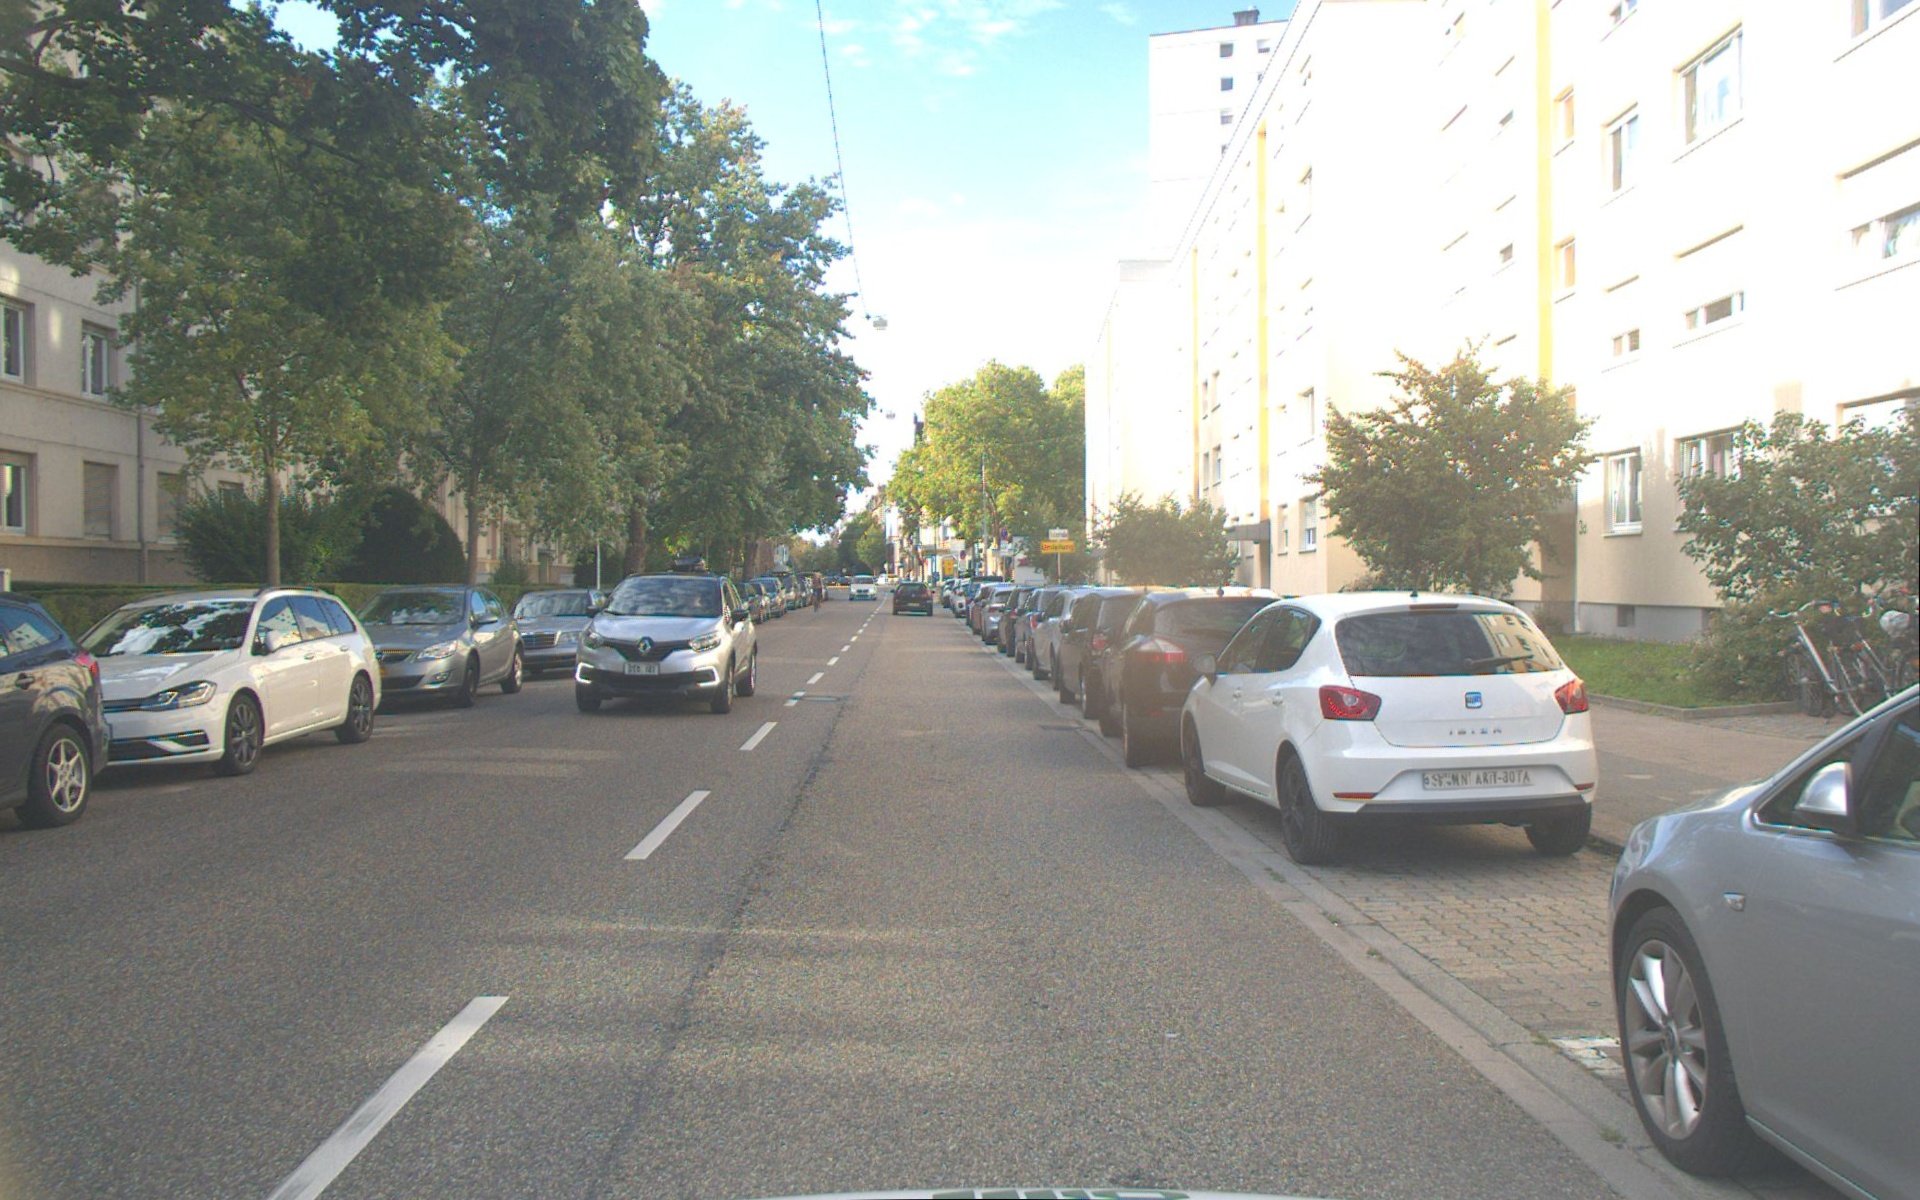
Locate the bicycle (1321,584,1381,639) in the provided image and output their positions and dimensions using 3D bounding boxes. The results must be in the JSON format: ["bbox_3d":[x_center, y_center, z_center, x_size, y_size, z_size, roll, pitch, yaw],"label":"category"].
[{"bbox_3d":[7.894,0.210,33.461,0.581,1.048,2.118,-3,1,-2],"label":"bicycle"}]

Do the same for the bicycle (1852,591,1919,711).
[{"bbox_3d":[9.004,0.461,15.353,0.511,1.093,1.590,-2,-1,-2],"label":"bicycle"}]

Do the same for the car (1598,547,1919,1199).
[{"bbox_3d":[2.726,0.661,2.640,1.727,1.550,4.330,-1,1,0],"label":"car"}]

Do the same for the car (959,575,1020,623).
[{"bbox_3d":[0.923,-0.058,54.007,1.694,1.486,4.115,-1,1,-3],"label":"car"}]

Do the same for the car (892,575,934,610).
[{"bbox_3d":[-2.053,-0.344,71.460,1.717,1.438,3.998,0,1,-3],"label":"car"}]

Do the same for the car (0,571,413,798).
[{"bbox_3d":[-6.372,0.574,14.169,1.818,1.511,4.797,-4,1,-2],"label":"car"}]

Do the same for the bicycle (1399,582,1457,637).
[{"bbox_3d":[9.487,0.171,33.604,0.491,1.048,2.025,-3,1,-2],"label":"bicycle"}]

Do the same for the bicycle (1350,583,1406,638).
[{"bbox_3d":[8.473,0.204,33.588,0.491,1.048,2.095,-3,1,-2],"label":"bicycle"}]

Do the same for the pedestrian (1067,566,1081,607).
[{"bbox_3d":[4.937,-0.602,71.675,0.530,1.751,0.772,-1,1,3],"label":"pedestrian"}]

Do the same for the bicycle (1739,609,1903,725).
[{"bbox_3d":[7.913,0.594,15.285,0.584,1.015,1.691,0,-1,-2],"label":"bicycle"}]

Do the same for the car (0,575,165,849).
[{"bbox_3d":[-6.214,0.640,8.785,1.818,1.512,4.682,-1,1,-2],"label":"car"}]

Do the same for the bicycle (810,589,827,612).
[{"bbox_3d":[-6.198,0.013,72.527,0.629,0.939,1.857,-1,1,-2],"label":"bicycle"}]

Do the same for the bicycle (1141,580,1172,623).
[{"bbox_3d":[6.204,0.022,52.378,0.592,1.313,2.634,-1,1,-2],"label":"bicycle"}]

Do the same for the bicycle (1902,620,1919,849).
[{"bbox_3d":[5.156,0.696,7.578,0.513,1.155,1.928,0,1,-3],"label":"bicycle"}]

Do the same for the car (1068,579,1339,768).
[{"bbox_3d":[2.097,0.559,15.383,1.650,1.460,4.204,-1,1,-3],"label":"car"}]

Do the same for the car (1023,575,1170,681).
[{"bbox_3d":[2.037,0.369,25.836,1.666,1.489,4.177,-1,1,-4],"label":"car"}]

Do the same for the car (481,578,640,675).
[{"bbox_3d":[-6.676,0.381,28.139,1.703,1.417,4.664,-3,1,-3],"label":"car"}]

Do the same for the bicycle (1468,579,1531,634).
[{"bbox_3d":[10.916,0.121,33.532,0.491,1.048,2.134,-4,1,-1],"label":"bicycle"}]

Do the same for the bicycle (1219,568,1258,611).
[{"bbox_3d":[8.833,-0.340,52.536,0.712,1.313,2.634,0,1,-2],"label":"bicycle"}]

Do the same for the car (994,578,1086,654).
[{"bbox_3d":[1.704,0.309,36.349,1.628,1.517,3.940,-2,1,-2],"label":"car"}]

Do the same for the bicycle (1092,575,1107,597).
[{"bbox_3d":[7.572,-0.759,89.868,0.518,1.134,2.209,-1,1,-2],"label":"bicycle"}]

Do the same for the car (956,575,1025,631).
[{"bbox_3d":[0.876,0.053,49.404,1.694,1.541,4.188,-1,1,-4],"label":"car"}]

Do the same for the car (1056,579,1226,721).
[{"bbox_3d":[2.124,0.533,20.360,1.649,1.527,3.874,-1,1,0],"label":"car"}]

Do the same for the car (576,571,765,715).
[{"bbox_3d":[-3.358,0.438,19.835,1.705,1.528,4.008,-1,1,-3],"label":"car"}]

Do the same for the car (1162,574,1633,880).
[{"bbox_3d":[2.475,0.605,10.452,1.650,1.493,4.204,-1,1,-3],"label":"car"}]

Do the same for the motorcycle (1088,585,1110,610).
[{"bbox_3d":[5.935,-0.123,70.555,0.618,1.063,2.393,0,1,-3],"label":"motorcycle"}]

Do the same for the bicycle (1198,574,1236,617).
[{"bbox_3d":[8.128,-0.154,52.448,0.712,1.313,2.634,-1,1,-2],"label":"bicycle"}]

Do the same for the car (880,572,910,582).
[{"bbox_3d":[-9.032,-3.182,229.963,3.913,1.445,1.996,-1,1,-9],"label":"car"}]

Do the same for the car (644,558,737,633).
[{"bbox_3d":[-7.190,-0.159,44.579,1.840,1.824,4.968,-3,1,-3],"label":"car"}]

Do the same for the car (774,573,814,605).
[{"bbox_3d":[-8.457,-0.601,84.462,1.666,1.512,3.847,-3,1,-1],"label":"car"}]

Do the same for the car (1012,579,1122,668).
[{"bbox_3d":[1.946,0.381,31.159,1.649,1.511,4.292,-1,1,-2],"label":"car"}]

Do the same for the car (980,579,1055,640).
[{"bbox_3d":[1.435,0.215,42.671,1.628,1.440,4.057,-2,1,-2],"label":"car"}]

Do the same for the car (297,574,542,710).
[{"bbox_3d":[-6.784,0.443,21.311,1.818,1.512,4.681,-2,1,-3],"label":"car"}]

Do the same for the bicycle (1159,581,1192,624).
[{"bbox_3d":[6.827,0.069,52.419,0.592,1.313,2.634,-2,1,-2],"label":"bicycle"}]

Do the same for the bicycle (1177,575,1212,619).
[{"bbox_3d":[7.418,-0.113,52.418,0.583,1.313,2.634,-3,1,-2],"label":"bicycle"}]

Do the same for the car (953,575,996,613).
[{"bbox_3d":[0.579,-0.271,68.776,1.693,1.513,4.641,-1,1,-1],"label":"car"}]

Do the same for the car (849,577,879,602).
[{"bbox_3d":[-6.204,-0.688,107.214,1.821,1.555,4.010,0,1,-1],"label":"car"}]

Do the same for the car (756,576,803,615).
[{"bbox_3d":[-8.579,-0.249,79.030,1.763,1.697,4.482,-3,1,-1],"label":"car"}]

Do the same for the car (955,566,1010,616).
[{"bbox_3d":[0.777,-0.332,58.763,1.694,1.678,4.115,-1,1,-3],"label":"car"}]

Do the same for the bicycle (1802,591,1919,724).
[{"bbox_3d":[8.461,0.512,15.310,0.436,1.156,1.590,-2,-1,-2],"label":"bicycle"}]

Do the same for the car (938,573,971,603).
[{"bbox_3d":[-0.285,-0.651,89.333,1.655,1.555,4.238,-1,1,1],"label":"car"}]

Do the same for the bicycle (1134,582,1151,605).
[{"bbox_3d":[7.781,-0.299,70.604,0.449,0.943,1.516,-1,1,-3],"label":"bicycle"}]

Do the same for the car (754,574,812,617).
[{"bbox_3d":[-6.959,-0.207,65.319,1.581,1.493,4.015,-5,1,2],"label":"car"}]

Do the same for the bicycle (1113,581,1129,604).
[{"bbox_3d":[6.846,-0.330,70.533,0.449,0.958,1.516,-1,1,-3],"label":"bicycle"}]

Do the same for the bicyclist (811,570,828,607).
[{"bbox_3d":[-6.156,-0.513,72.479,0.628,1.628,0.990,-1,1,-2],"label":"bicyclist"}]

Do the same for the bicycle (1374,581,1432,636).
[{"bbox_3d":[8.983,0.157,33.603,0.491,1.048,2.068,-3,1,-2],"label":"bicycle"}]
